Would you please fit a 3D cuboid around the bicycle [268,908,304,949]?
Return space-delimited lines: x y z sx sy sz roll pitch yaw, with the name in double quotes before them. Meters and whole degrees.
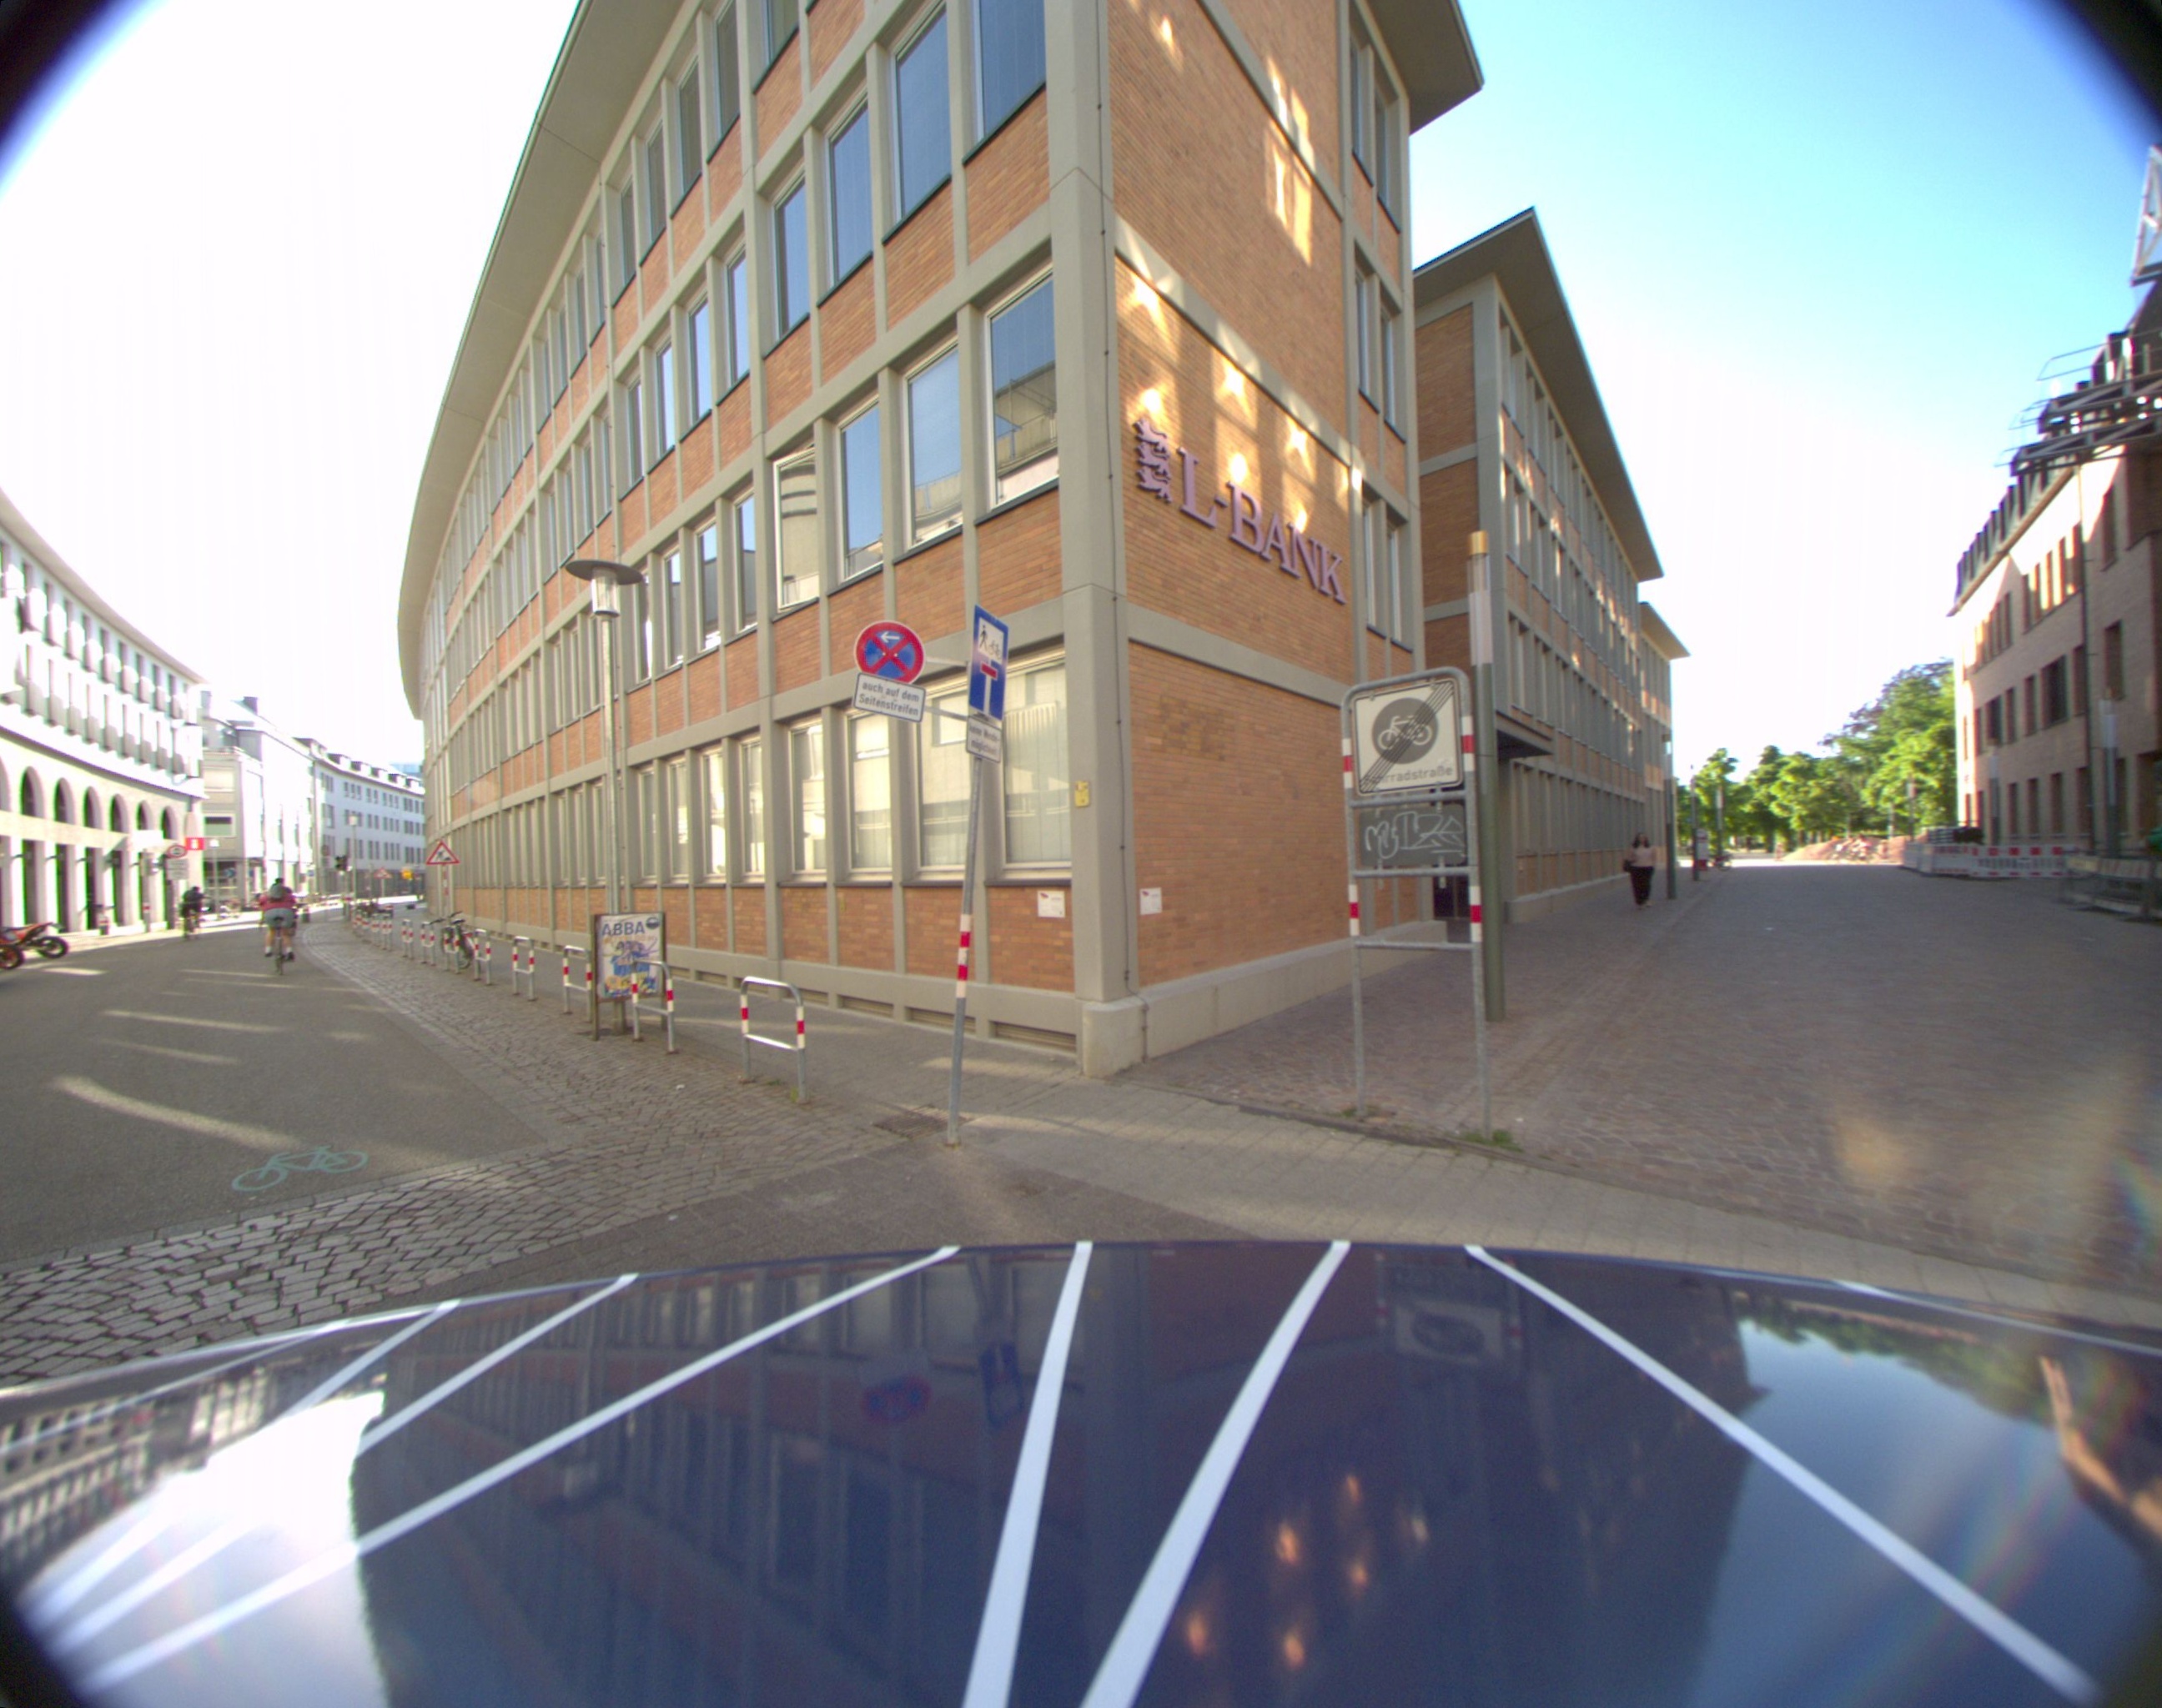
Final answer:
"bicycle" -21.941 2.037 20.965 1.796 1.045 0.593 -2 -2 41

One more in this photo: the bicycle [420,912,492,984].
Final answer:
"bicycle" -11.144 1.634 13.516 1.925 1.110 0.639 -2 0 41

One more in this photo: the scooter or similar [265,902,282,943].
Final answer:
"scooter or similar" -24.950 2.103 23.472 1.275 1.179 0.338 -1 -1 43

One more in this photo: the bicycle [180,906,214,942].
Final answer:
"bicycle" -28.111 2.207 24.169 1.831 1.045 0.575 -2 0 44

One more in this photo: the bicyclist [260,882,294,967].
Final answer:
"bicyclist" -14.756 1.272 13.944 0.873 1.489 0.429 -1 -1 43

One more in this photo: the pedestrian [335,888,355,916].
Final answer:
"pedestrian" -38.530 2.503 39.772 0.594 1.433 0.661 -2 1 44

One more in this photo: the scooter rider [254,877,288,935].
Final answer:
"scooter rider" -24.996 1.601 23.454 0.700 1.716 0.650 0 1 42

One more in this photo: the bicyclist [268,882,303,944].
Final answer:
"bicyclist" -21.966 1.610 20.986 0.821 1.656 0.621 -2 -2 42

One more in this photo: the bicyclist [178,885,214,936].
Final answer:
"bicyclist" -28.169 1.787 24.196 1.106 1.549 0.651 -2 1 43

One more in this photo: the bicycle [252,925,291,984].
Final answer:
"bicycle" -14.749 1.802 13.829 1.586 0.951 0.437 -2 -1 42

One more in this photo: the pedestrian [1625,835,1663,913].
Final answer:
"pedestrian" 13.142 0.464 17.742 0.637 1.775 0.654 -1 -2 42
